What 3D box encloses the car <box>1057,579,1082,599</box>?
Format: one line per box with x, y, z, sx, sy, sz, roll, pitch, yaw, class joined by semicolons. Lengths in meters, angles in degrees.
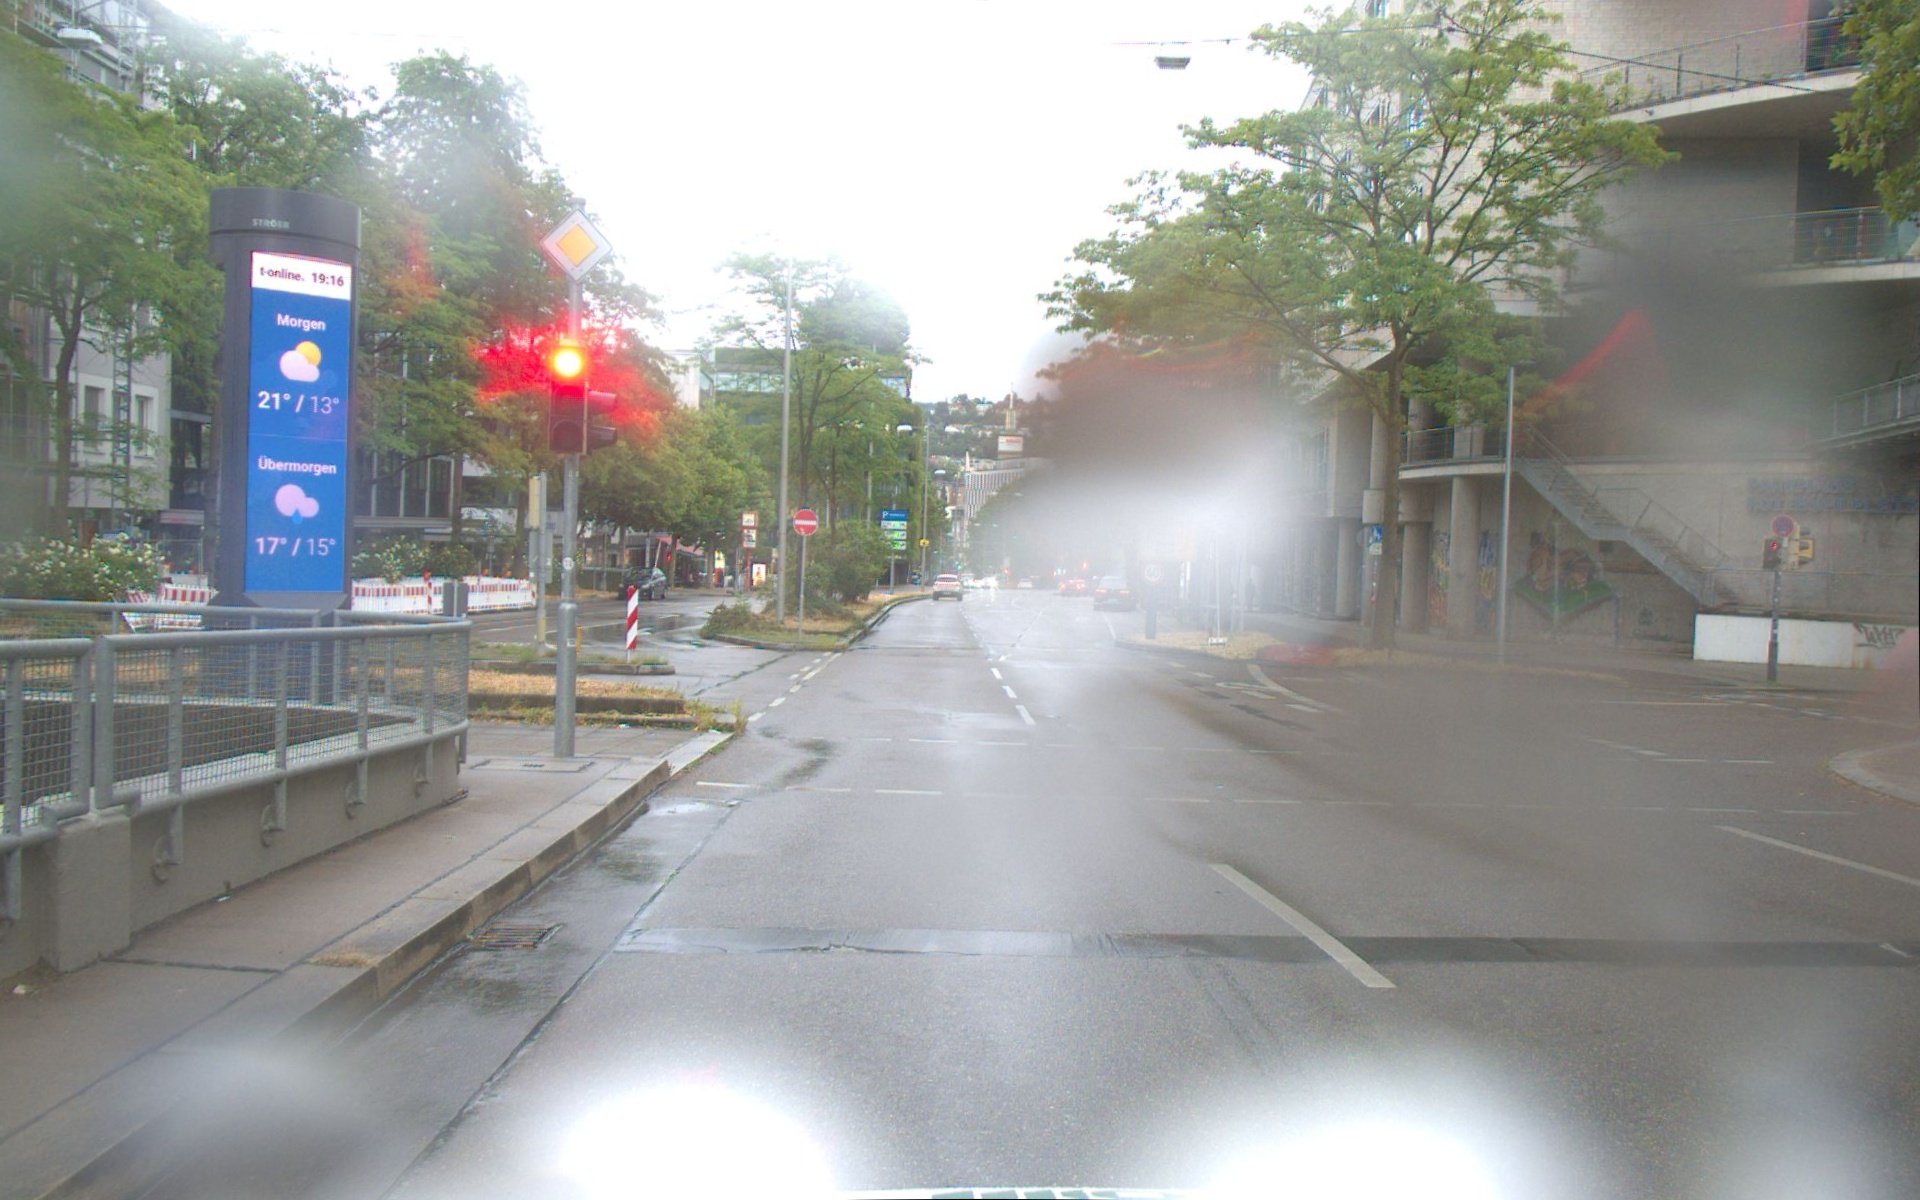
10.318;-1.011;155.882;1.953;1.754;3.999;1;0;-2;car

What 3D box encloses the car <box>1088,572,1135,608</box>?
7.670;-0.506;83.537;2.288;1.720;4.003;1;1;6;car

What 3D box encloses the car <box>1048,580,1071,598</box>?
10.029;-1.079;166.959;1.953;1.766;3.999;1;0;-1;car

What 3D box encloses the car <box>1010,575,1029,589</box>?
7.999;-2.406;221.972;1.955;1.789;3.995;2;0;-6;car

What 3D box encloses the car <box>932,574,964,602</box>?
-0.796;-0.783;106.146;1.792;1.668;4.298;2;0;-3;car

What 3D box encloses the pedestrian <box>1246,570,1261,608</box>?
15.340;-0.574;86.448;0.759;1.954;0.703;1;-1;9;pedestrian
